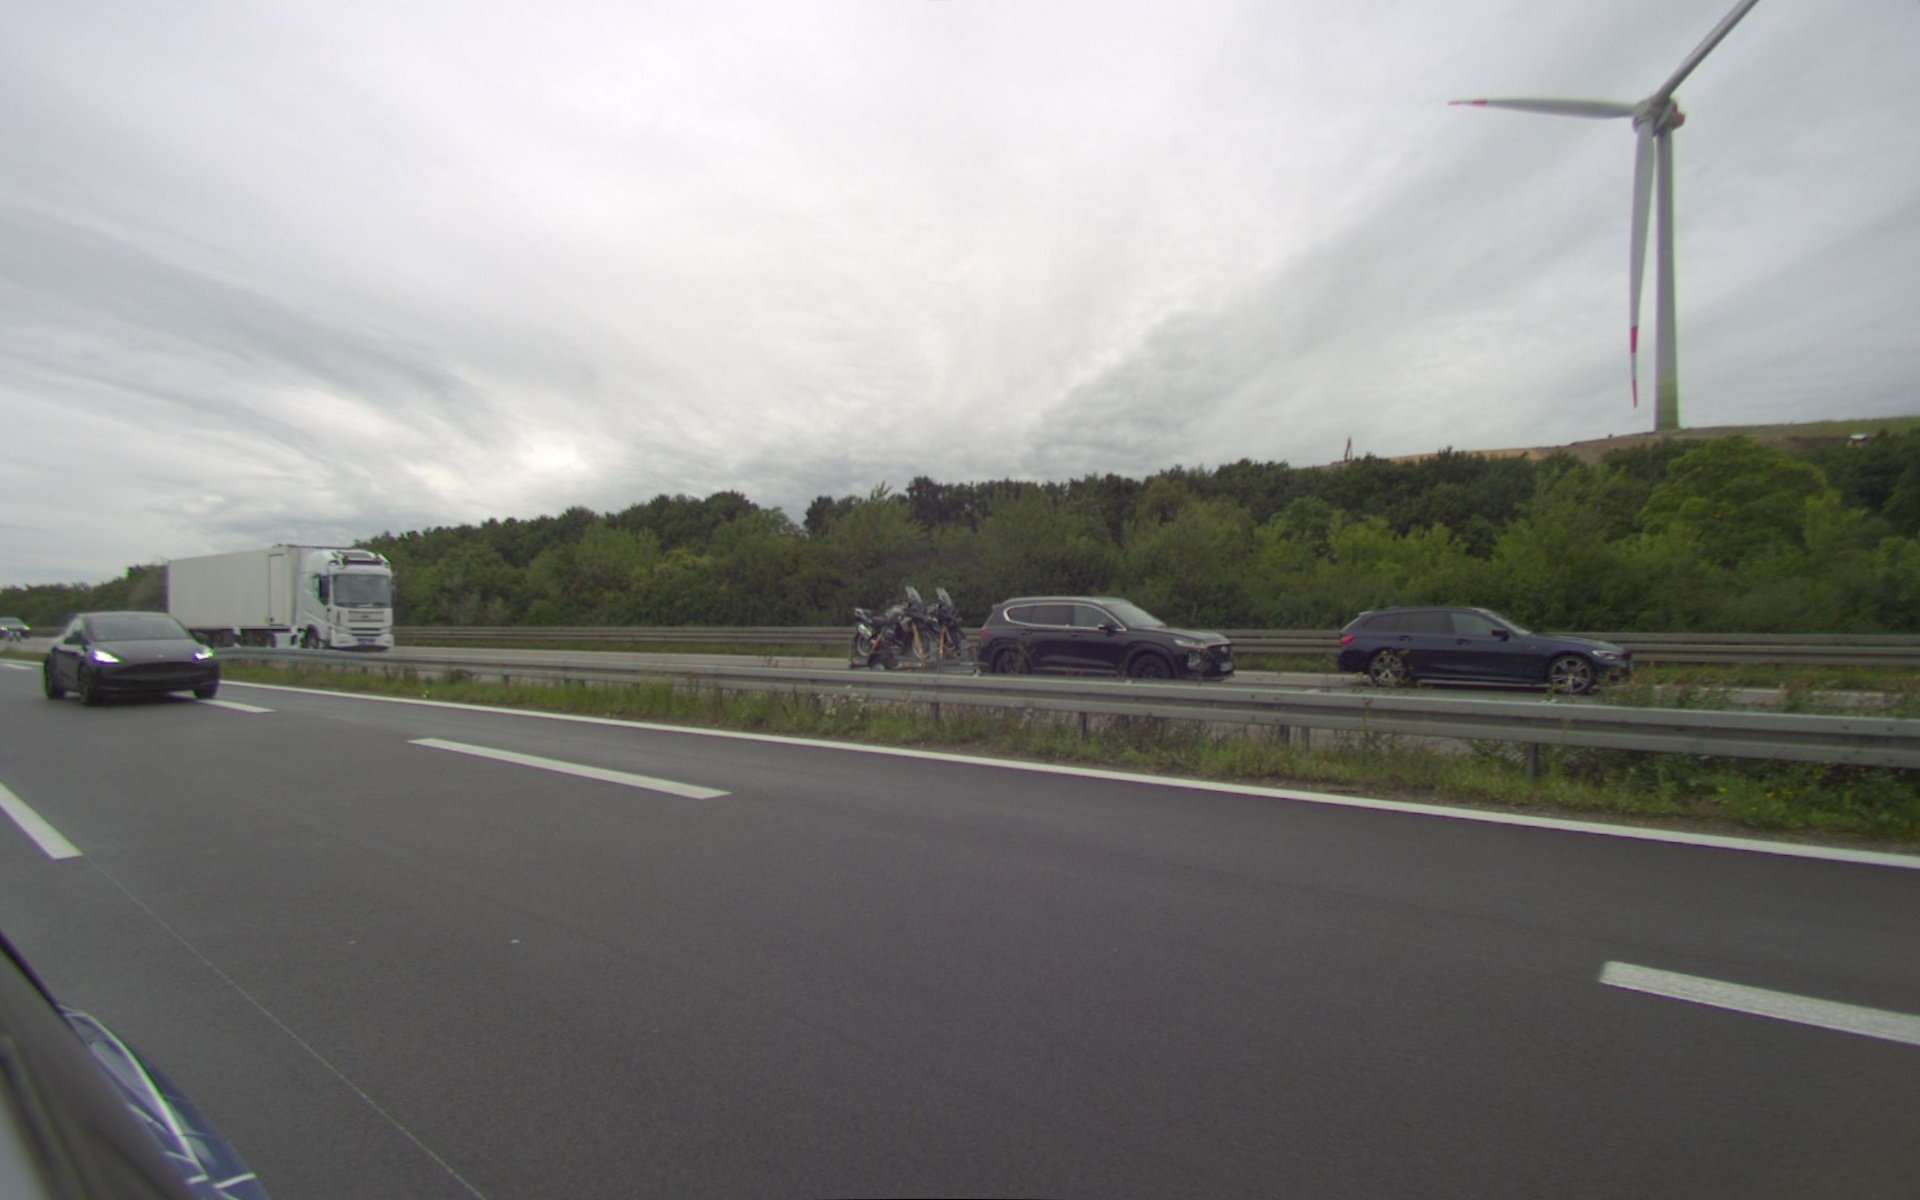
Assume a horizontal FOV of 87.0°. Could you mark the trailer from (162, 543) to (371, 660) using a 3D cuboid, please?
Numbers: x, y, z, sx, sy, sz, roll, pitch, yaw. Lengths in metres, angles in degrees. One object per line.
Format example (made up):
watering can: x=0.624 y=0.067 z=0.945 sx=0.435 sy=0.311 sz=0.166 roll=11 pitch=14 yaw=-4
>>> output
trailer: x=-28.733 y=0.155 z=41.469 sx=13.926 sy=4.166 sz=2.741 roll=-1 pitch=0 yaw=37

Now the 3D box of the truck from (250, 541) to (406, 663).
truck: x=-23.523 y=0.115 z=37.563 sx=6.433 sy=4.166 sz=2.741 roll=-1 pitch=0 yaw=37

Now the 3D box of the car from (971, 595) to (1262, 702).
car: x=2.658 y=0.764 z=17.862 sx=4.800 sy=1.638 sz=1.864 roll=0 pitch=0 yaw=38

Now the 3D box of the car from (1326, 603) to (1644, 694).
car: x=9.162 y=0.771 z=17.882 sx=4.768 sy=1.402 sz=1.787 roll=0 pitch=0 yaw=38

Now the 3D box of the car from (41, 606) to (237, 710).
car: x=-15.215 y=0.961 z=18.669 sx=4.549 sy=1.650 sz=1.942 roll=0 pitch=0 yaw=39

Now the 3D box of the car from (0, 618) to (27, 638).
car: x=-80.665 y=2.361 z=85.619 sx=4.479 sy=1.663 sz=1.880 roll=-1 pitch=-1 yaw=38

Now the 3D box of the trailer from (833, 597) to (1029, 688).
trailer: x=-0.615 y=0.788 z=20.413 sx=3.606 sy=1.638 sz=1.864 roll=0 pitch=0 yaw=38
